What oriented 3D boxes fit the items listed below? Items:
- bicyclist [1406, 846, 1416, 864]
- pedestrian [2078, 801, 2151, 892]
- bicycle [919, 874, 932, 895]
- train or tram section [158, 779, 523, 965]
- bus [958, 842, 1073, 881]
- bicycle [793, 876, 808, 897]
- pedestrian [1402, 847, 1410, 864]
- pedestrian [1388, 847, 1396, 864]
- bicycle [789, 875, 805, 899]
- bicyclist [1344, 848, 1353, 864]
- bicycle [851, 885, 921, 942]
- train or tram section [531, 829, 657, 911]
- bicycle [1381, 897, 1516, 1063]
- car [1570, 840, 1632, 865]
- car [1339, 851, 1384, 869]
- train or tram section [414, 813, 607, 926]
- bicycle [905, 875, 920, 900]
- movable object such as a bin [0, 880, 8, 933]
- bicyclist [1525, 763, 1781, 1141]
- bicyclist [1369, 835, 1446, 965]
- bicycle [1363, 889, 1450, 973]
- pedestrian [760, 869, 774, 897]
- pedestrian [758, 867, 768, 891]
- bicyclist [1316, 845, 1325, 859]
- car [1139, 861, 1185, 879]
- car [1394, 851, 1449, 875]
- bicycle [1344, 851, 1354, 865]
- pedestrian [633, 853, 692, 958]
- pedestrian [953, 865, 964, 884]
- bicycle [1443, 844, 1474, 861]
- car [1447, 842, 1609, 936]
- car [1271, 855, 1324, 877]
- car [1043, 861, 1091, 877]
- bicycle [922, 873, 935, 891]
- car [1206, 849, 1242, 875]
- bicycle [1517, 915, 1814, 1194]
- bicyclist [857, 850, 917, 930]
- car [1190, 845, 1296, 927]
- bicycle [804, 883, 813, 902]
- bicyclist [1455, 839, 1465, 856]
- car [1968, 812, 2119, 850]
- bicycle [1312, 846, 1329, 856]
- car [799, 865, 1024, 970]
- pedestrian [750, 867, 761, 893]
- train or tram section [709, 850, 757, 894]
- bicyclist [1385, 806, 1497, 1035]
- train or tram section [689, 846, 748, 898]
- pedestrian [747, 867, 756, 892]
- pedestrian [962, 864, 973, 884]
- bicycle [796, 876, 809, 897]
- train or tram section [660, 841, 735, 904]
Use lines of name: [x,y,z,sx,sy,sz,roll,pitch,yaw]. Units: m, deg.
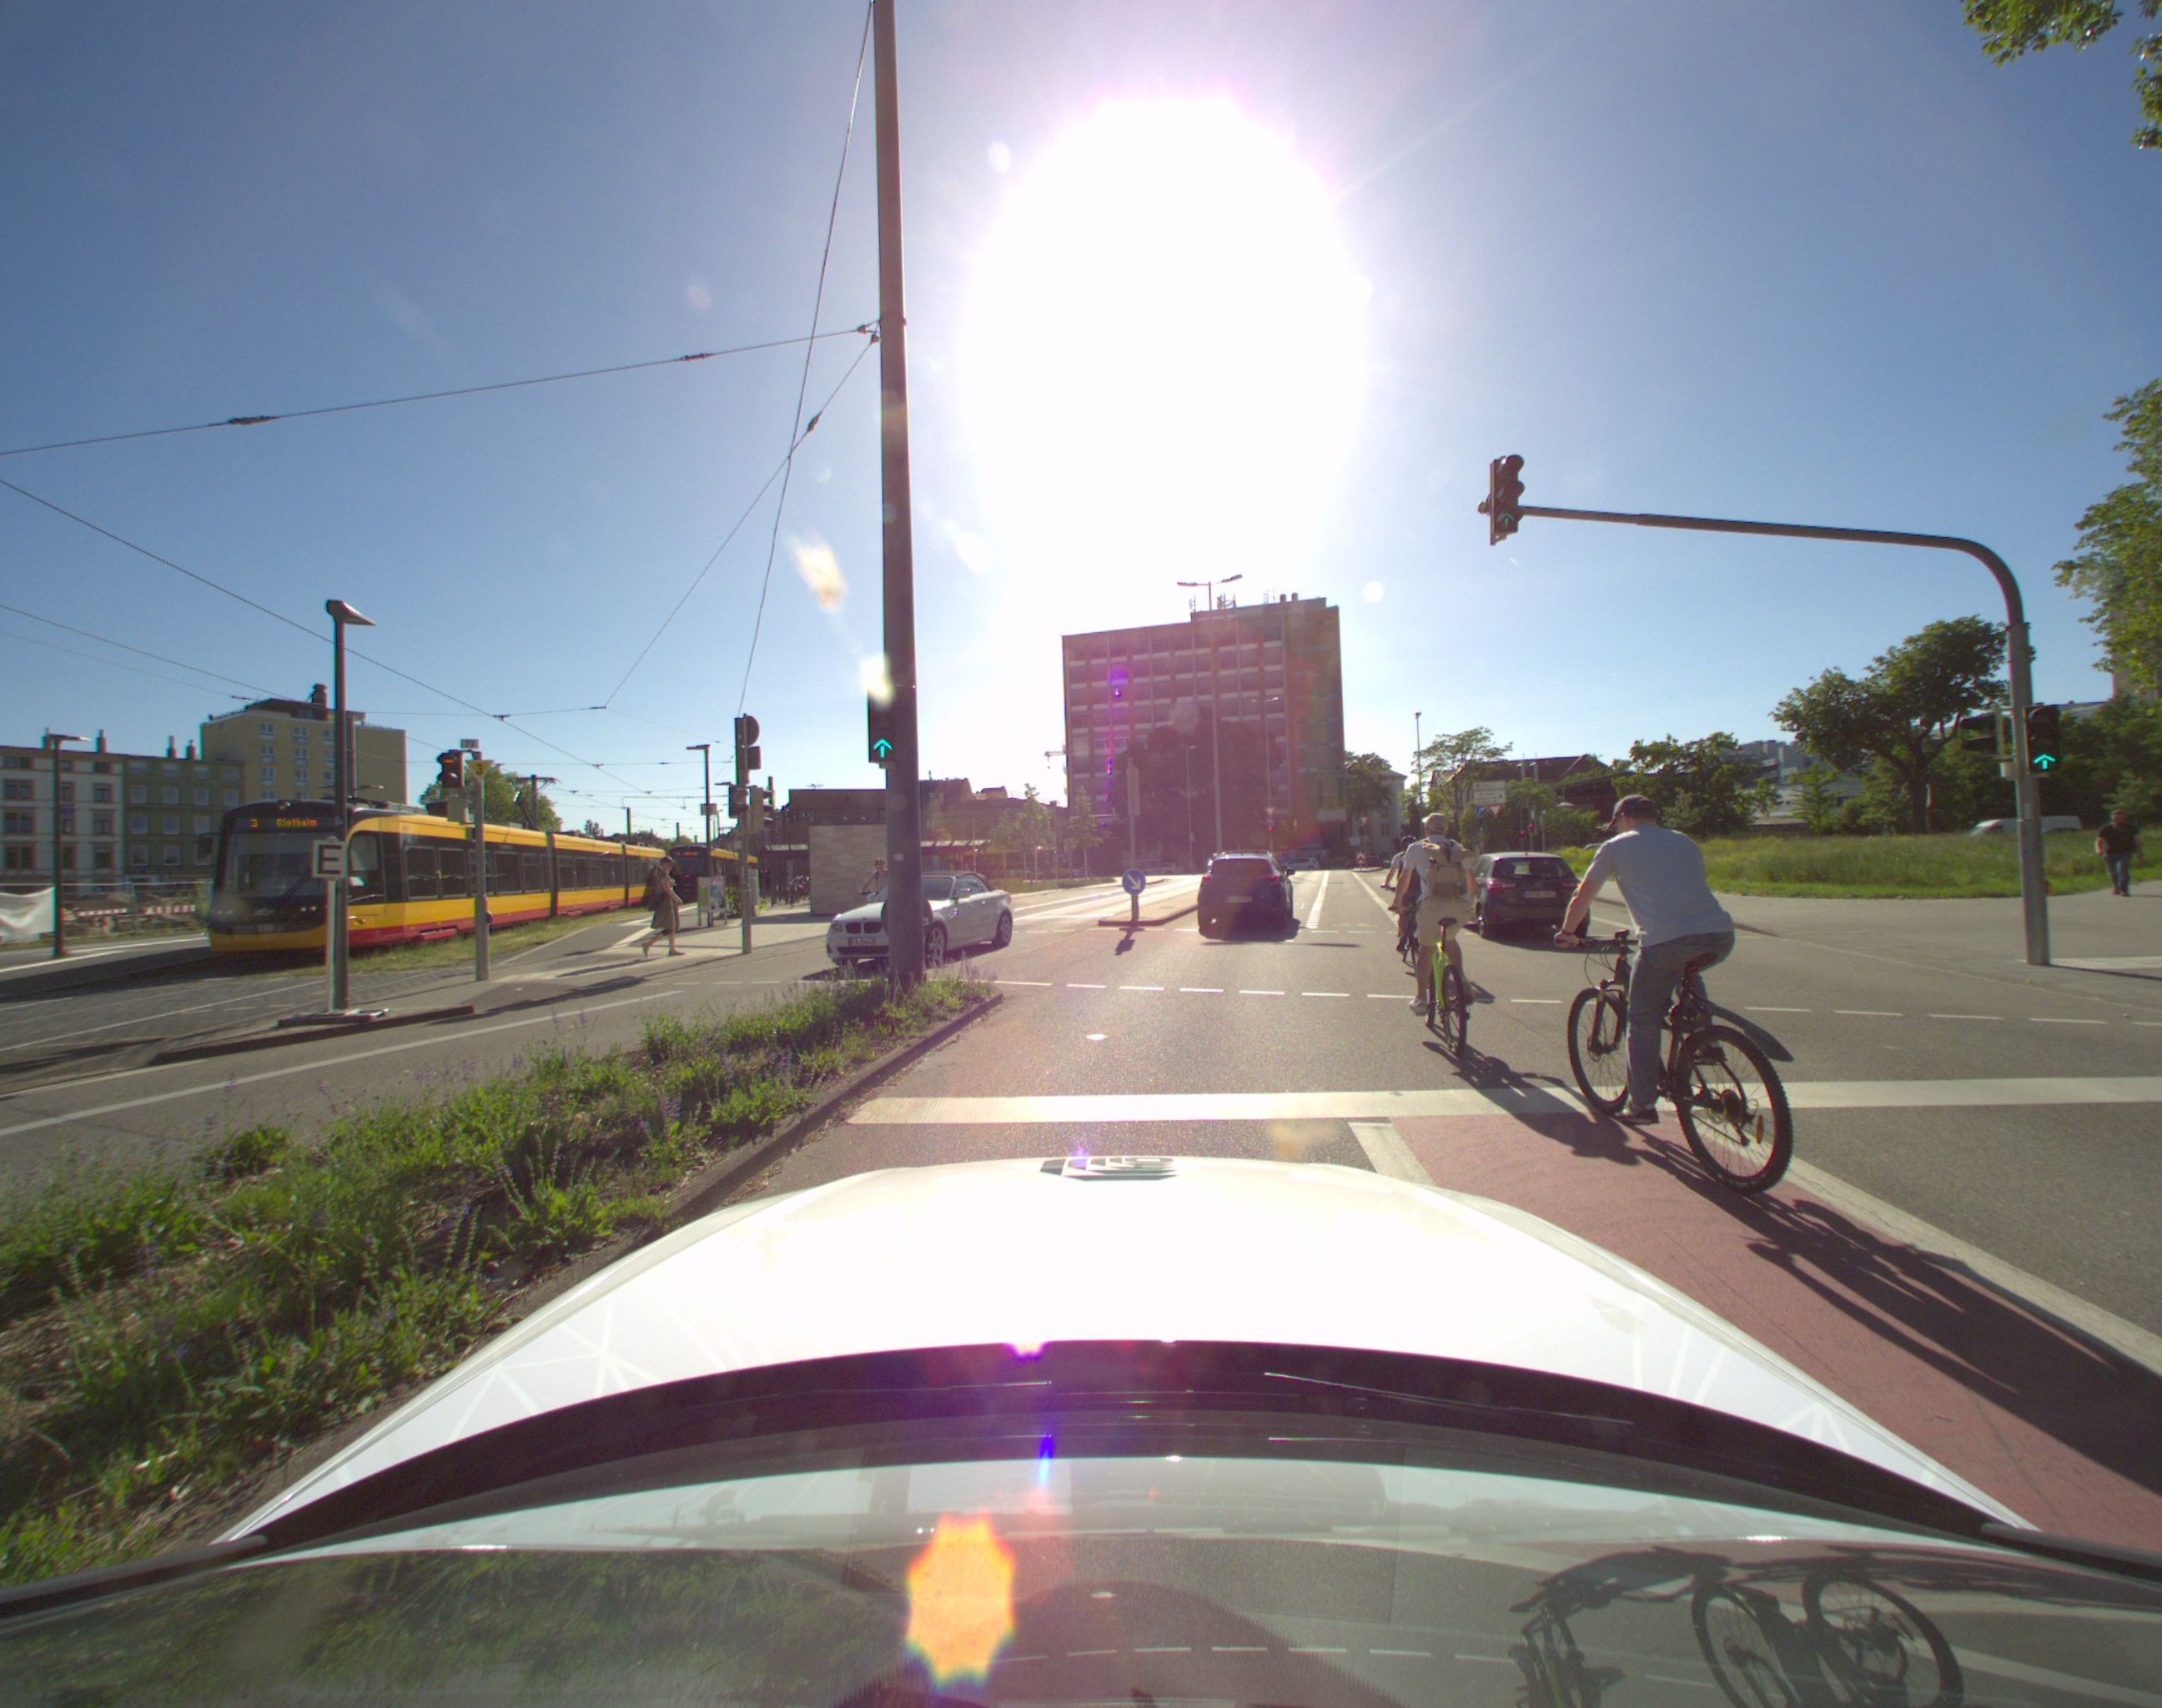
bicyclist: [34.316,0.151,84.646,0.848,1.846,0.856,-2,-2,26]
pedestrian: [21.578,-0.151,17.002,1.053,1.832,0.753,-2,-1,-33]
bicycle: [-8.022,1.564,41.865,0.581,1.088,2.049,-1,-2,-13]
train or tram section: [-17.657,0.405,20.745,2.826,3.508,10.412,-2,-1,-18]
bus: [-6.583,0.844,80.140,12.284,3.396,2.900,-2,-2,36]
bicycle: [-14.500,1.677,42.173,0.567,1.093,2.019,0,-2,-15]
pedestrian: [32.688,0.150,81.936,0.550,1.670,0.479,-2,-3,32]
pedestrian: [32.095,0.174,84.039,0.555,1.670,0.479,-2,-3,32]
bicycle: [-13.459,1.542,38.596,0.567,1.093,2.019,0,-2,-15]
bicyclist: [30.795,0.192,93.587,0.874,1.797,1.167,-2,-2,21]
bicycle: [-4.185,1.253,17.667,0.769,1.080,2.039,-3,-1,7]
train or tram section: [-23.972,0.795,40.827,2.823,3.508,11.143,-1,-1,-17]
bicycle: [2.955,0.942,6.729,0.658,1.047,1.897,-1,1,13]
car: [44.942,-0.124,70.545,4.307,2.014,2.012,-2,-2,27]
car: [27.301,0.589,79.202,3.858,1.586,1.891,-2,-2,28]
train or tram section: [-20.804,0.567,30.628,2.824,3.508,10.548,-1,-1,-17]
bicycle: [-7.435,1.471,35.869,0.581,1.058,1.808,-1,-2,-13]
movable object such as a bin: [-59.055,2.792,42.922,3.953,2.796,1.842,-2,-2,20]
bicyclist: [3.001,0.472,4.404,0.744,1.776,1.017,-2,-1,12]
bicyclist: [4.286,0.576,10.762,0.717,1.626,1.058,-1,-1,10]
bicycle: [4.335,0.983,10.982,0.718,0.960,1.889,0,0,10]
pedestrian: [-21.687,1.994,56.202,0.850,1.883,0.755,0,-2,-20]
pedestrian: [-24.684,1.923,63.244,0.633,1.857,0.699,0,-2,-15]
bicyclist: [26.102,-0.203,88.740,0.810,1.444,0.623,-2,-1,18]
car: [8.935,1.776,89.596,4.605,1.900,2.012,-2,-2,34]
car: [30.637,0.823,73.231,4.331,2.014,2.012,-2,-2,27]
bicycle: [30.798,0.520,93.583,0.874,1.541,2.825,-2,-2,21]
pedestrian: [-7.804,0.934,15.228,0.904,1.850,0.758,-2,1,-26]
pedestrian: [-11.153,1.881,74.117,0.647,1.741,0.793,-2,-3,33]
bicycle: [38.176,-0.144,82.444,2.778,1.541,0.888,-2,-2,21]
car: [8.190,0.616,15.288,1.743,1.542,3.672,-1,-1,14]
car: [20.808,1.165,78.266,4.607,2.014,2.012,-2,-2,27]
car: [-1.394,1.497,80.576,4.354,1.522,1.982,-2,-2,34]
bicycle: [-9.233,1.706,49.252,0.581,1.088,1.861,0,-2,-15]
car: [9.687,0.528,54.961,1.804,1.568,4.269,-4,-1,17]
bicycle: [3.026,0.939,4.465,0.607,1.077,1.836,-2,-1,12]
bicyclist: [-4.207,0.763,17.712,0.875,1.644,1.062,-3,-1,7]
car: [3.644,0.649,17.843,1.808,1.600,3.675,-1,-1,18]
bicycle: [-13.517,1.898,40.342,0.423,0.938,1.297,0,-1,-19]
bicyclist: [38.325,-0.618,82.394,0.851,1.692,0.889,-2,-2,21]
car: [71.507,-1.693,60.689,7.092,2.423,2.085,-2,-1,21]
bicycle: [26.104,-0.337,88.742,1.652,1.093,0.613,-3,-1,18]
car: [-2.608,0.951,13.613,1.786,1.393,4.111,-5,-2,17]
pedestrian: [-23.152,1.857,57.961,0.605,1.857,0.790,0,-2,-15]
train or tram section: [-30.198,1.526,71.091,2.879,3.508,10.477,-1,-1,-18]
bicyclist: [2.953,0.506,6.766,0.659,1.747,1.009,-1,0,13]
train or tram section: [-27.005,1.336,61.065,2.879,3.508,10.477,-1,-1,-18]
pedestrian: [-25.248,1.954,62.348,0.635,1.857,0.697,0,-2,-23]
pedestrian: [-10.080,1.775,72.401,0.618,1.741,0.793,-2,-3,33]
bicycle: [-15.312,1.777,44.795,0.567,1.093,2.019,0,-2,-15]
train or tram section: [-23.768,1.146,51.049,2.879,3.508,10.477,-1,-1,-18]
